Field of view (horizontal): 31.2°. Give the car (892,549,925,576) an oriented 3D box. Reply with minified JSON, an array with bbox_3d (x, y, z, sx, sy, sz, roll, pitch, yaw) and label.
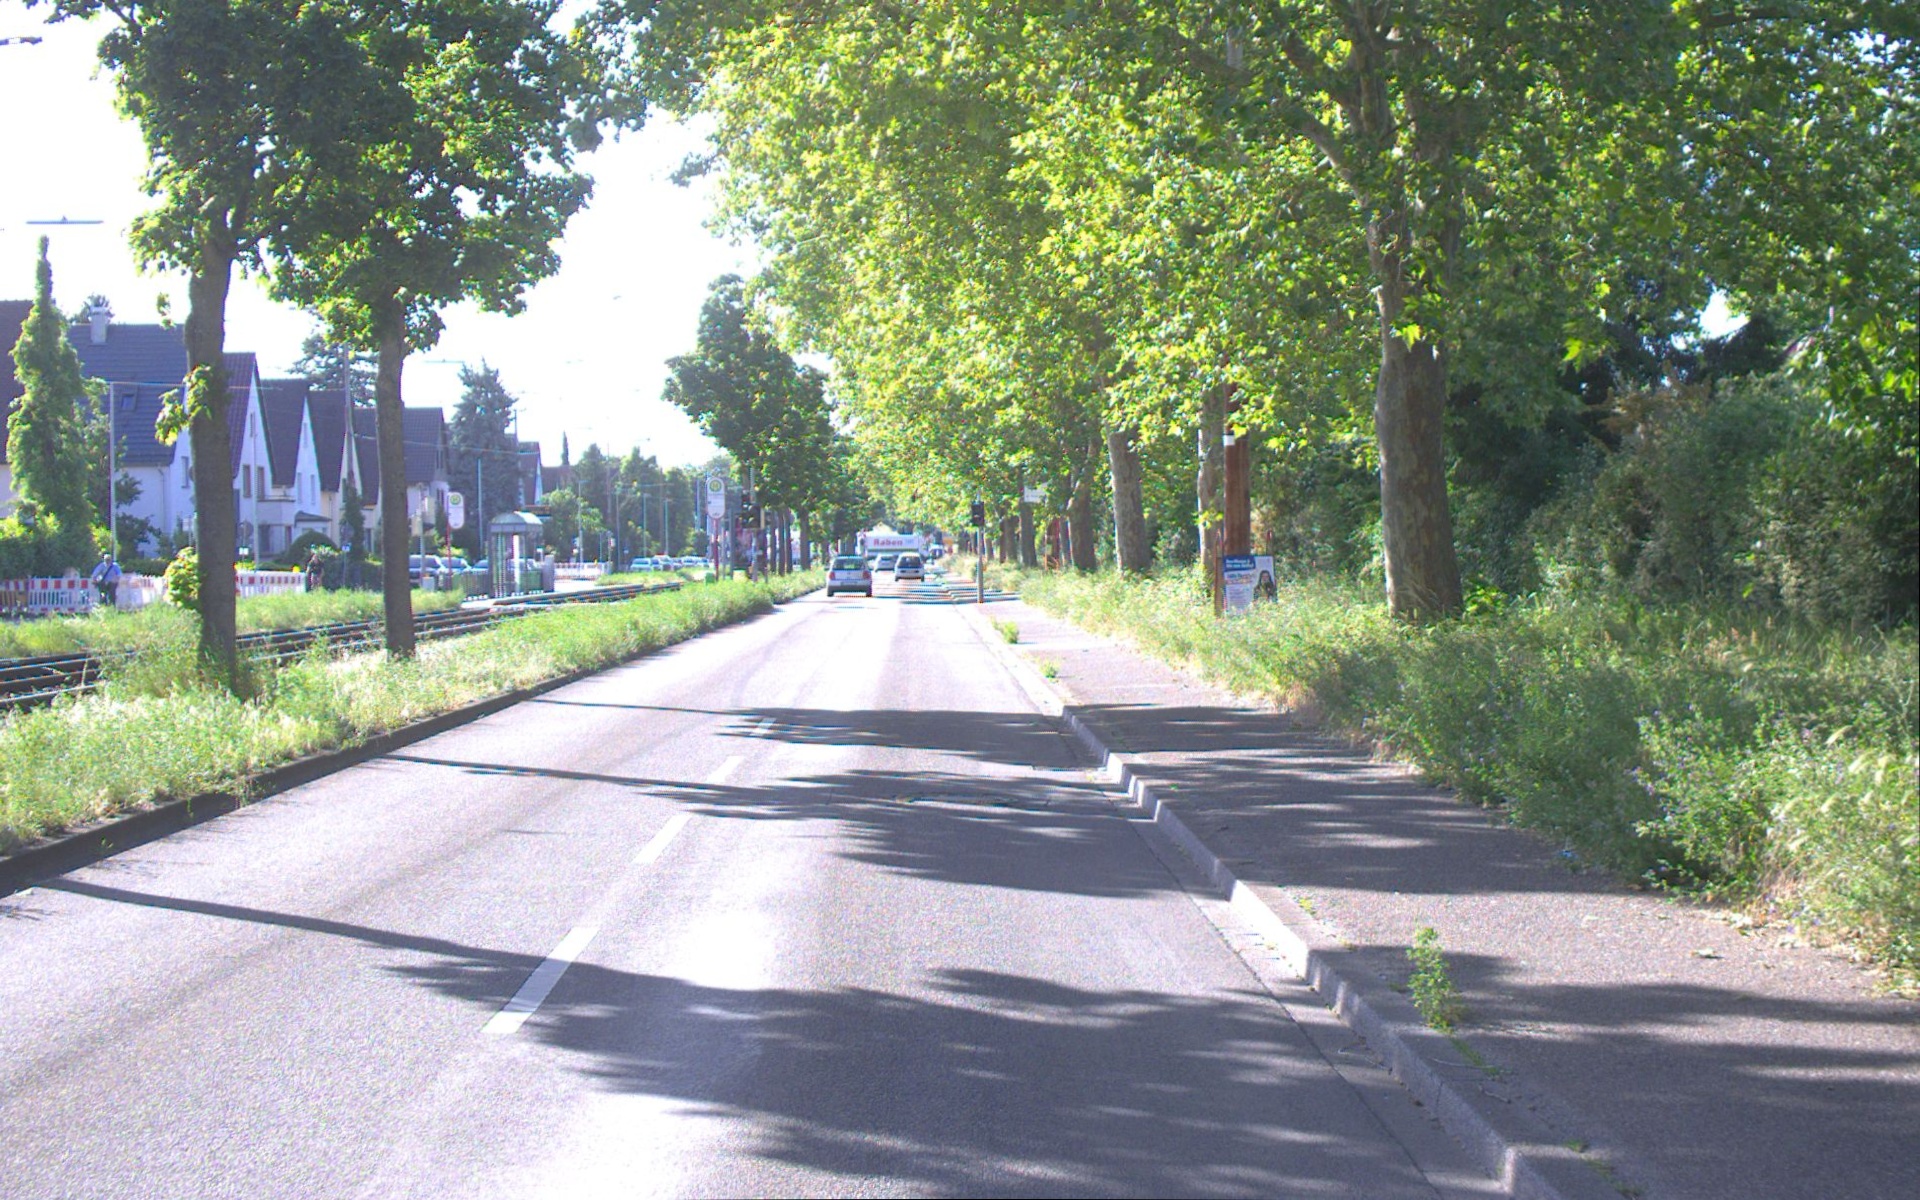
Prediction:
[{"bbox_3d":[-2.871,-2.099,192.333,1.761,1.508,3.277,1,0,0],"label":"car"}]

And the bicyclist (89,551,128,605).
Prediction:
[{"bbox_3d":[-20.490,-0.527,82.724,0.798,1.273,0.737,1,0,-4],"label":"bicyclist"}]

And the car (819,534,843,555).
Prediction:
[{"bbox_3d":[-8.869,-3.810,236.814,1.527,1.450,3.287,1,0,0],"label":"car"}]

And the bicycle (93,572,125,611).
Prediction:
[{"bbox_3d":[-20.407,-0.208,82.444,0.441,0.898,2.061,1,0,-5],"label":"bicycle"}]

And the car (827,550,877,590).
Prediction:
[{"bbox_3d":[-3.887,-1.070,124.087,1.738,1.396,3.277,1,0,-1],"label":"car"}]
